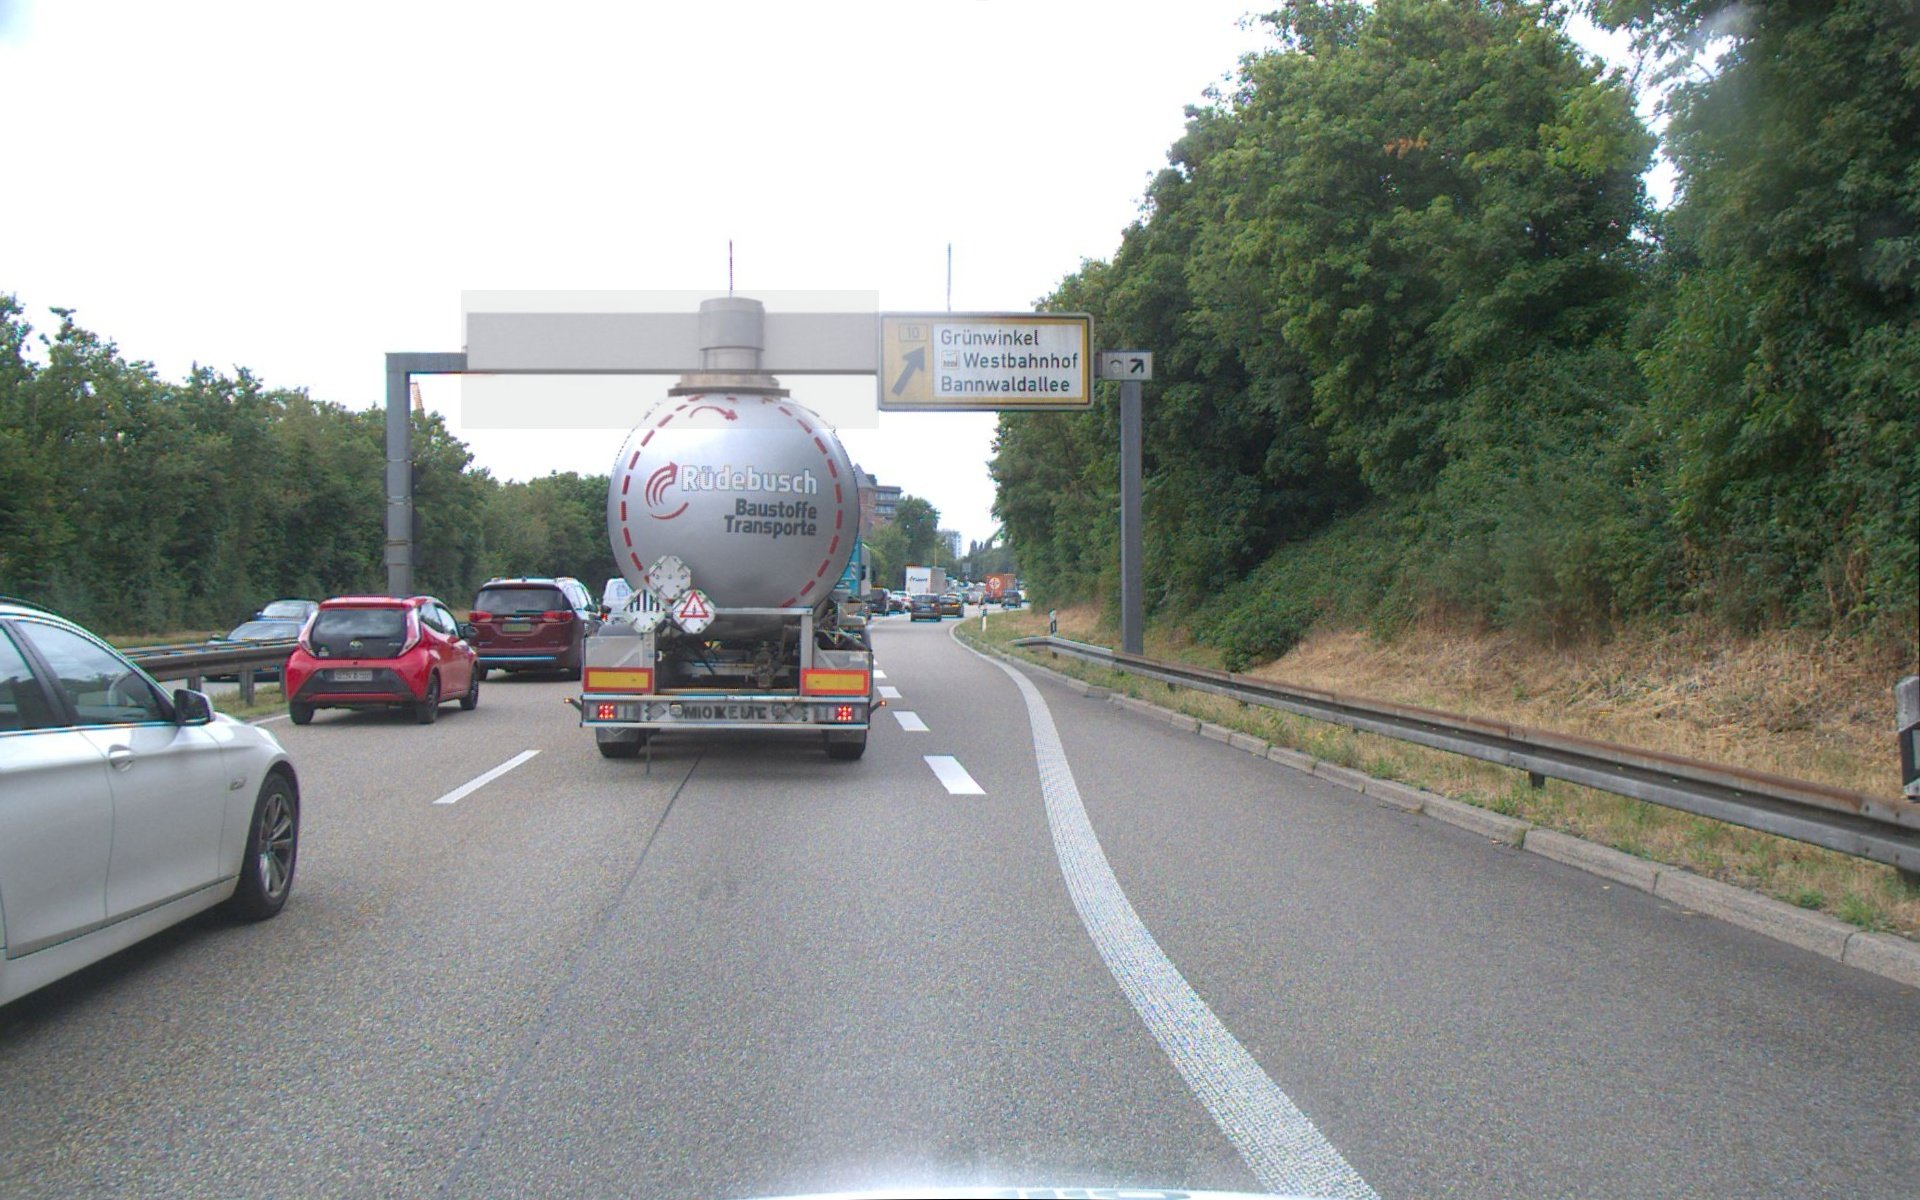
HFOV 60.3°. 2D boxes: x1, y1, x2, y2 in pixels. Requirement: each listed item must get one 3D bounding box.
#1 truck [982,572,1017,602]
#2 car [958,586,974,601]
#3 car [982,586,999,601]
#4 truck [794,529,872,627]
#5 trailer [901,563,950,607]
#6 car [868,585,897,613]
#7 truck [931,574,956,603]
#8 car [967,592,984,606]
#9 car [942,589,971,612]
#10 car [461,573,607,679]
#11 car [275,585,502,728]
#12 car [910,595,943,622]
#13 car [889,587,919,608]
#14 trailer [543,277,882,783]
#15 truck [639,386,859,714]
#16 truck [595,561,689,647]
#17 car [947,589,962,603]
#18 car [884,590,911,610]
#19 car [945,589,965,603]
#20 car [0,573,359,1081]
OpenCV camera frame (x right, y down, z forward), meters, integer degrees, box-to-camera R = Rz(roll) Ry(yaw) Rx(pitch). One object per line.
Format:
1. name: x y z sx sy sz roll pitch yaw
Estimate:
1. truck: 5.711 -1.895 237.272 3.415 4.144 13.603 -1 0 8
2. car: 0.875 -0.944 232.153 1.779 2.049 4.003 -1 0 6
3. car: 4.130 -0.941 225.959 1.951 2.049 4.003 -1 0 6
4. truck: -5.357 -0.916 71.765 2.870 3.863 11.326 -1 0 -2
5. trailer: -3.263 -1.384 162.287 3.229 4.107 13.106 1 0 5
6. car: -5.413 -0.090 115.387 1.948 1.931 4.981 -1 0 -3
7. truck: -2.386 -1.686 245.946 2.681 4.211 10.703 1 0 5
8. car: 1.961 -0.148 205.359 1.681 1.713 4.003 1 0 7
9. car: -0.216 0.008 112.369 1.787 1.508 4.001 -1 0 2
10. car: -7.457 0.438 29.315 1.839 1.737 3.995 1 0 -5
11. car: -6.858 0.629 20.270 1.595 1.550 4.086 1 0 -4
12. car: -1.909 0.487 95.622 1.787 1.508 4.000 -1 0 1
13. car: -4.696 -0.195 139.385 1.915 1.724 4.868 -1 0 4
14. trailer: -2.438 -0.589 18.595 2.631 3.975 10.975 -1 0 -5
15. truck: -2.881 -0.640 23.644 2.631 3.975 6.928 -1 0 -5
16. truck: -8.051 0.110 42.196 1.955 2.049 3.995 1 0 -6
17. car: -0.599 -0.464 193.305 1.498 1.579 3.420 -1 0 5
18. car: -4.800 -0.029 126.968 1.809 1.485 4.831 -1 0 0
19. car: -0.620 -0.495 193.568 1.761 1.632 4.261 -1 0 7
20. car: -3.912 0.669 5.848 2.018 1.489 5.253 -1 0 -5
